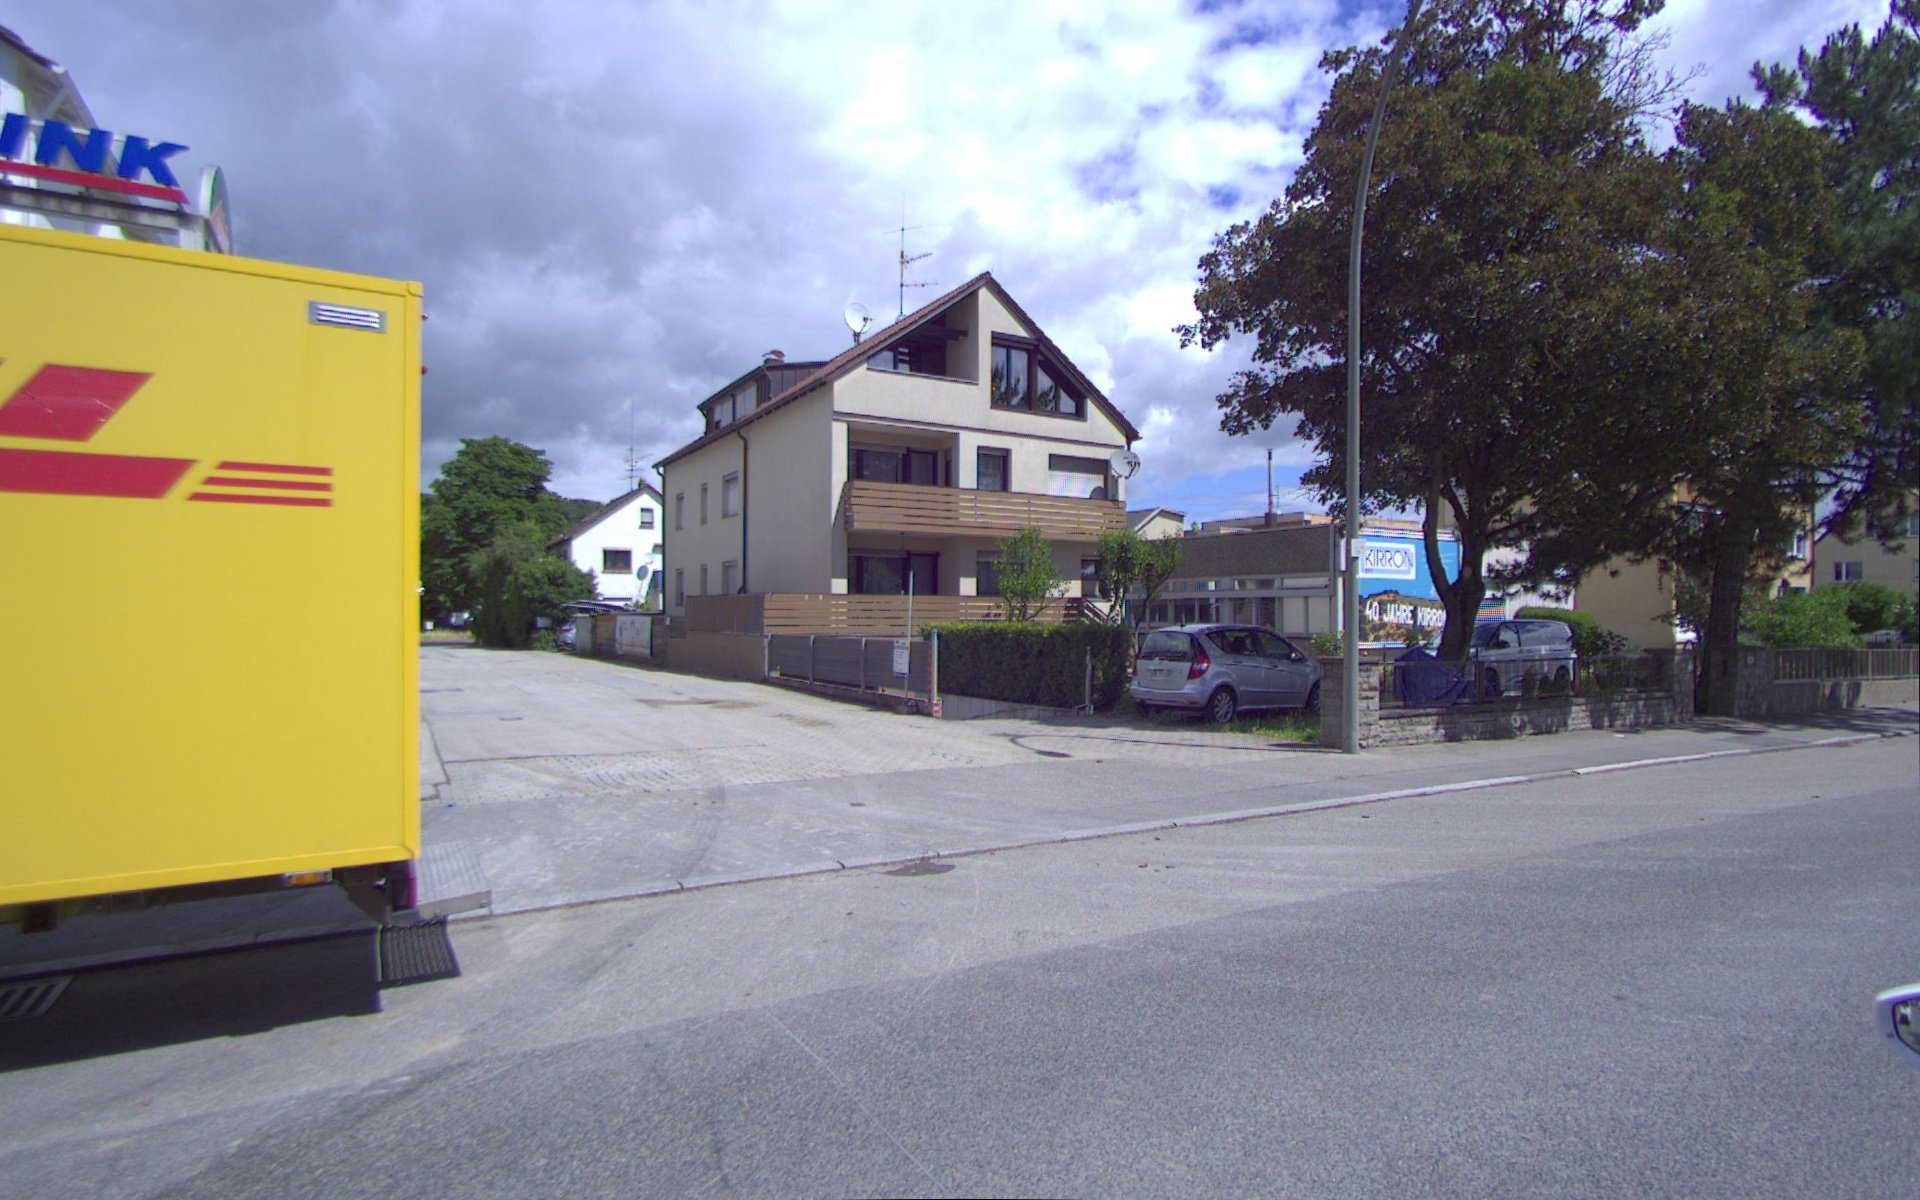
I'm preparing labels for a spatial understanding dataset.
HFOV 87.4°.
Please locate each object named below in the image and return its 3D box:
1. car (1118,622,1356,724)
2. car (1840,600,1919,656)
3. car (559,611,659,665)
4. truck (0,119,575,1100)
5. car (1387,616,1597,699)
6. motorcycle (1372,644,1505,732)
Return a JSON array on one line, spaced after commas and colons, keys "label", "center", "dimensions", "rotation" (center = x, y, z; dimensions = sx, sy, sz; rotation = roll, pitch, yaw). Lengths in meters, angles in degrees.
[{"label": "car", "center": [4.782, 1.166, 17.164], "dimensions": [4.045, 1.563, 1.756], "rotation": [1, -2, -34]}, {"label": "car", "center": [45.124, 1.388, 48.110], "dimensions": [6.056, 2.528, 2.404], "rotation": [1, -3, -27]}, {"label": "car", "center": [-16.277, 1.764, 46.569], "dimensions": [3.953, 2.039, 1.986], "rotation": [8, -4, -28]}, {"label": "truck", "center": [-5.415, 0.025, 2.956], "dimensions": [7.731, 3.042, 2.312], "rotation": [1, -3, -32]}, {"label": "car", "center": [13.159, 1.366, 24.767], "dimensions": [5.416, 1.855, 2.069], "rotation": [1, -2, -31]}, {"label": "motorcycle", "center": [7.078, 1.273, 14.971], "dimensions": [0.810, 1.181, 1.871], "rotation": [1, -1, -13]}]
